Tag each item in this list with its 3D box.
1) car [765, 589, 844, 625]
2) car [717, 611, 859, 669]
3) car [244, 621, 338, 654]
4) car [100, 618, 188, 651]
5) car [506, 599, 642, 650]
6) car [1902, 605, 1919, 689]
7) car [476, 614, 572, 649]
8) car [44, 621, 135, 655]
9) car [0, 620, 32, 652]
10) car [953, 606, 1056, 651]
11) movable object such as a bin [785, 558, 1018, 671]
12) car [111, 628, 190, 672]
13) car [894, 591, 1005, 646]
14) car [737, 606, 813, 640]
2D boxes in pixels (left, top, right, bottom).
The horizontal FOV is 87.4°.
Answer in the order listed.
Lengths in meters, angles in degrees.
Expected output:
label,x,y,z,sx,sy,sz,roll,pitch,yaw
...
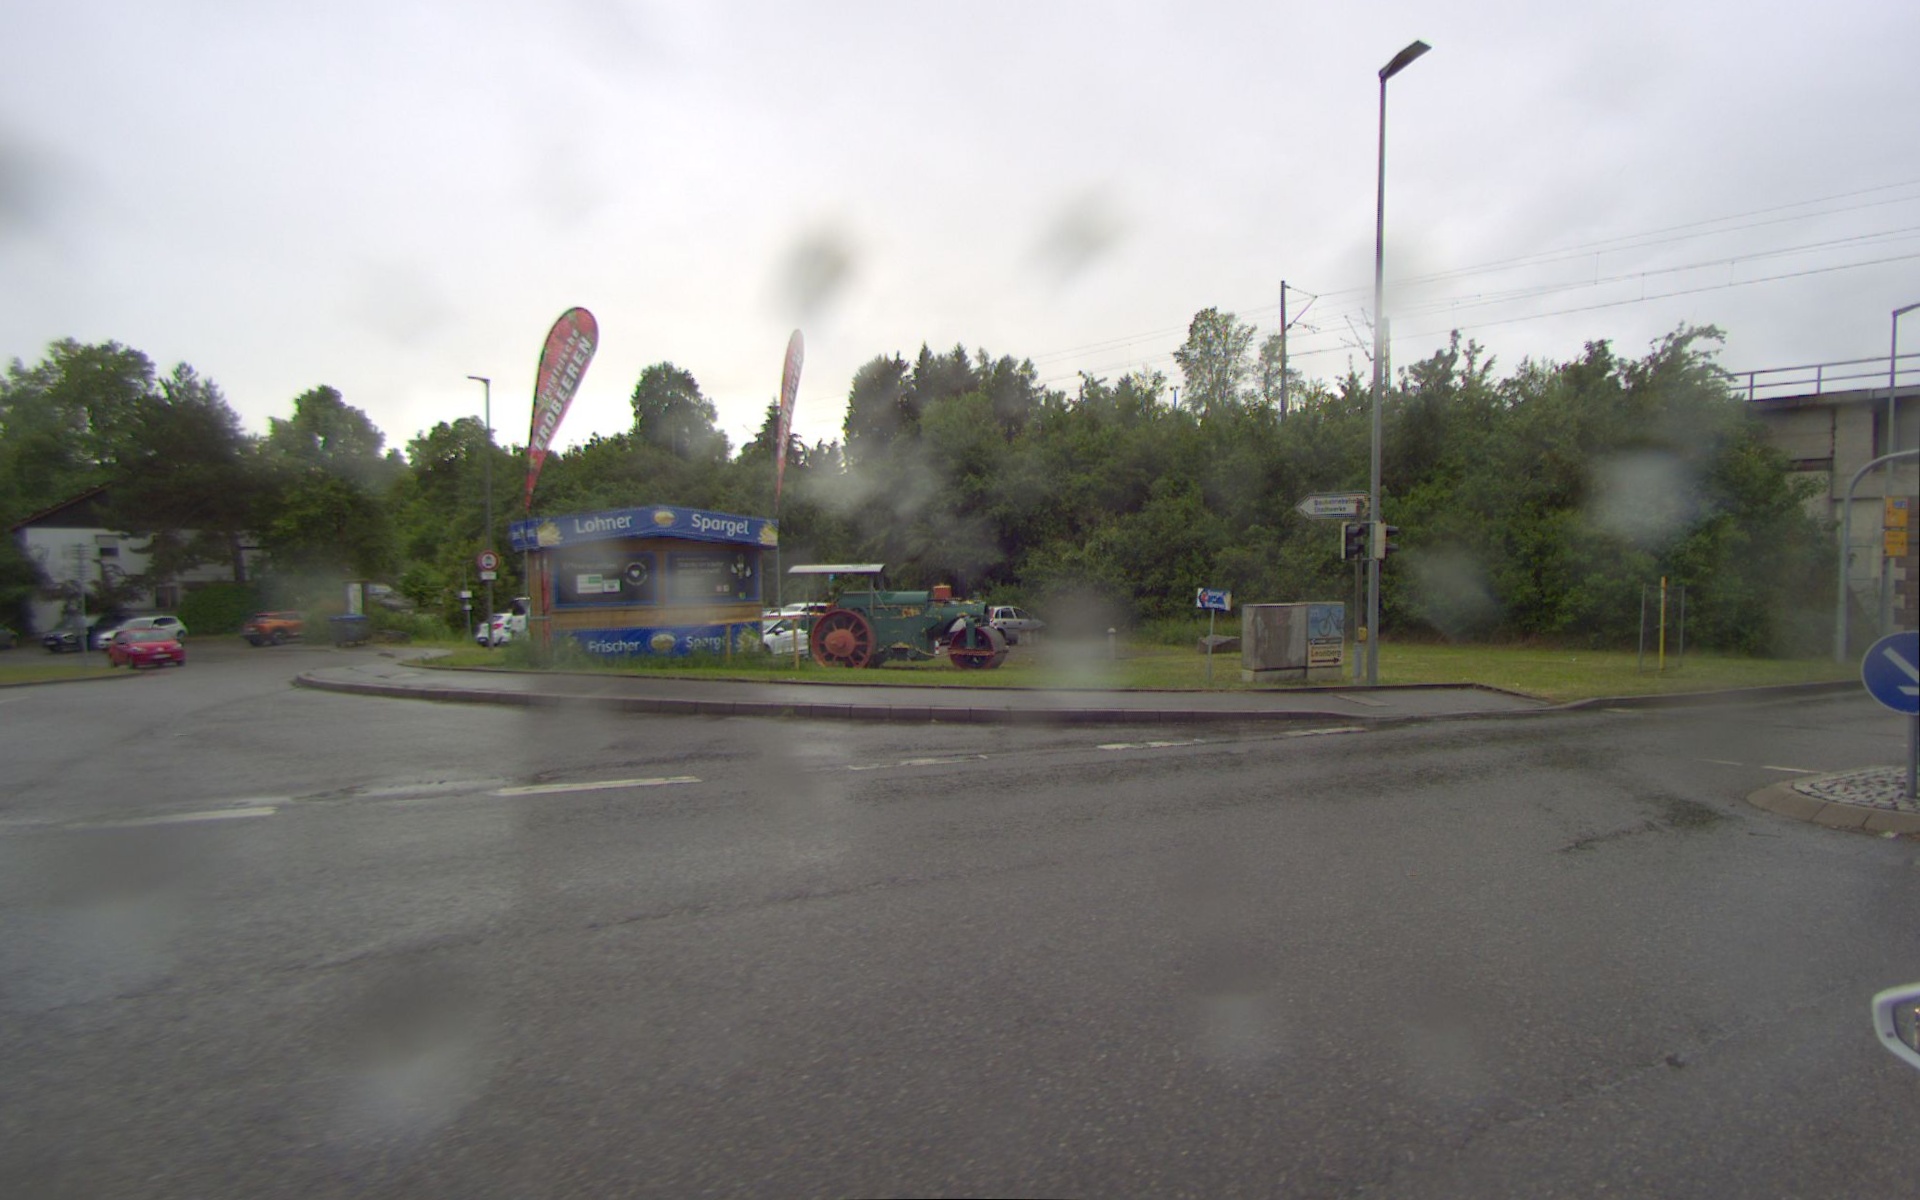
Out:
label,x,y,z,sx,sy,sz,roll,pitch,yaw
car,-7.064,0.338,45.769,1.428,1.560,3.341,0,-1,45
car,-5.079,1.153,30.048,1.647,1.595,3.976,0,-1,44
car,-32.287,1.776,48.540,1.599,1.530,3.424,0,-1,27
car,-40.179,1.664,49.570,1.540,1.530,3.601,1,-1,-4
car,-14.445,0.903,37.744,1.896,1.789,4.361,0,-1,45
car,22.101,1.014,21.598,4.637,1.737,1.884,1,-1,-36
car,-17.890,1.291,41.253,1.428,1.354,3.341,0,-1,45
car,-42.874,1.843,49.567,1.444,1.530,3.601,1,-1,-4
car,-48.030,1.793,49.462,1.540,1.530,3.427,1,-1,-4
car,1.703,1.046,37.513,1.750,1.589,3.801,0,-1,44
movable object such as a bin,-1.427,0.403,25.863,5.587,2.722,2.313,-1,-1,9
car,-30.771,1.864,38.141,3.548,1.531,1.644,0,-1,39
car,-0.361,0.714,38.720,1.878,2.006,4.209,0,-1,44
car,-8.729,1.081,47.508,1.428,1.560,3.341,0,-1,45
